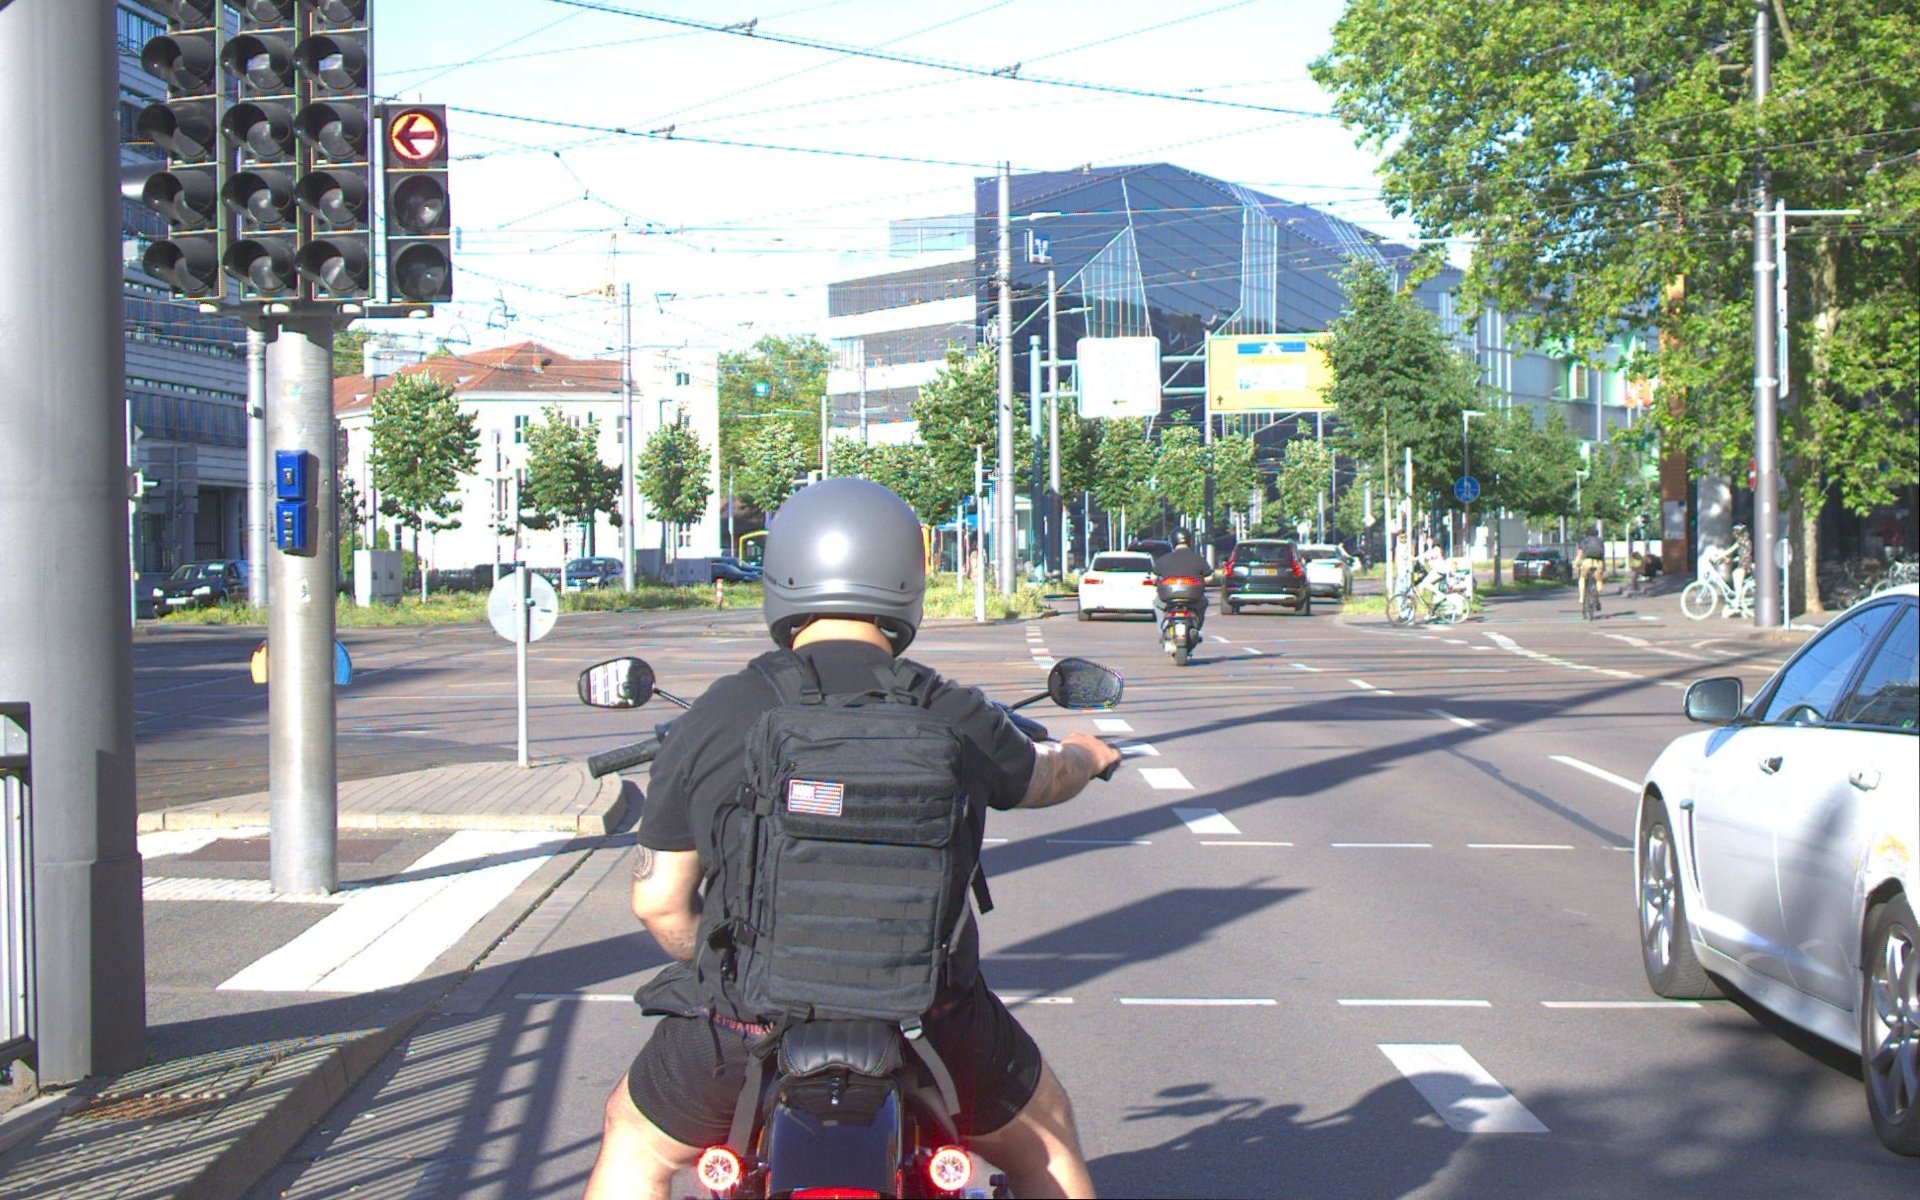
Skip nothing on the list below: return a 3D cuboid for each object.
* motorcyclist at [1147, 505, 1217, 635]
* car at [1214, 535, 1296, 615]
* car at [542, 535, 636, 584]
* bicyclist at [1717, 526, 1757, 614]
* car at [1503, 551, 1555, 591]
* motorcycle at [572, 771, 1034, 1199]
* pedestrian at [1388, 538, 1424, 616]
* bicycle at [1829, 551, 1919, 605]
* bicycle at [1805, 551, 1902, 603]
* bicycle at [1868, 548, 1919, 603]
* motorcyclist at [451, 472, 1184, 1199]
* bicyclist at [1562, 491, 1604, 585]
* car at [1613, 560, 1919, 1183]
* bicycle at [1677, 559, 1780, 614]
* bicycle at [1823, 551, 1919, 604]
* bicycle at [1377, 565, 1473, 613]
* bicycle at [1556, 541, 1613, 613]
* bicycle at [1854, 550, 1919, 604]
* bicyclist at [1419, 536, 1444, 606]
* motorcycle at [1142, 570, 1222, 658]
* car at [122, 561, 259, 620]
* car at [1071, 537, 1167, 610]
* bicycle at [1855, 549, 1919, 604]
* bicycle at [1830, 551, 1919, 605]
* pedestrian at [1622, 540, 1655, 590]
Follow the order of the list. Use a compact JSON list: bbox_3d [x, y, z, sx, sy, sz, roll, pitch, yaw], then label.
[{"bbox_3d":[2.727,-0.366,42.217,0.796,1.574,0.529,1,0,-1],"label":"motorcyclist"},{"bbox_3d":[6.740,-0.599,78.975,1.732,1.726,4.611,1,2,4],"label":"car"},{"bbox_3d":[-11.872,-1.282,110.155,1.750,1.519,3.997,1,0,13],"label":"car"},{"bbox_3d":[14.737,-0.566,65.190,0.688,1.667,0.540,0,0,19],"label":"bicyclist"},{"bbox_3d":[25.102,-1.264,151.512,1.804,1.672,4.038,1,0,16],"label":"car"},{"bbox_3d":[-0.224,0.880,5.636,0.600,1.032,2.234,1,1,-1],"label":"motorcycle"},{"bbox_3d":[8.886,-0.460,68.544,0.587,1.551,0.489,1,0,-8],"label":"pedestrian"},{"bbox_3d":[18.439,-0.449,69.003,1.880,1.043,0.360,1,1,-1],"label":"bicycle"},{"bbox_3d":[18.369,-0.474,70.654,1.880,1.043,0.360,1,1,-1],"label":"bicycle"},{"bbox_3d":[18.361,-0.458,65.729,1.880,1.043,0.360,1,0,-1],"label":"bicycle"},{"bbox_3d":[-0.204,0.608,5.303,1.030,1.588,0.873,0,1,-1],"label":"motorcyclist"},{"bbox_3d":[12.172,-1.204,67.175,0.697,1.802,0.728,1,0,4],"label":"bicyclist"},{"bbox_3d":[3.140,0.615,9.558,1.803,1.425,4.453,0,1,0],"label":"car"},{"bbox_3d":[14.580,-0.251,65.240,1.872,1.040,0.536,0,0,19],"label":"bicycle"},{"bbox_3d":[18.437,-0.458,69.503,1.880,1.043,0.360,1,1,-1],"label":"bicycle"},{"bbox_3d":[9.075,-0.212,67.075,1.825,0.922,0.358,1,0,-8],"label":"bicycle"},{"bbox_3d":[12.169,-0.449,67.078,0.726,1.362,2.917,1,0,3],"label":"bicycle"},{"bbox_3d":[18.499,-0.439,67.329,1.880,1.043,0.360,1,0,-1],"label":"bicycle"},{"bbox_3d":[9.202,-0.569,67.094,0.380,1.368,0.345,1,0,-9],"label":"bicyclist"},{"bbox_3d":[2.722,0.161,42.356,0.804,1.047,2.376,1,0,0],"label":"motorcycle"},{"bbox_3d":[-19.499,-0.235,87.268,1.826,1.426,4.239,1,0,11],"label":"car"},{"bbox_3d":[3.288,-0.551,71.759,1.731,1.452,4.418,1,0,-1],"label":"car"},{"bbox_3d":[18.305,-0.451,66.511,1.880,1.043,0.360,1,0,-1],"label":"bicycle"},{"bbox_3d":[18.338,-0.436,68.516,1.880,1.043,0.360,1,0,-1],"label":"bicycle"},{"bbox_3d":[17.901,-0.915,90.719,0.819,1.309,0.637,1,0,9],"label":"pedestrian"}]
